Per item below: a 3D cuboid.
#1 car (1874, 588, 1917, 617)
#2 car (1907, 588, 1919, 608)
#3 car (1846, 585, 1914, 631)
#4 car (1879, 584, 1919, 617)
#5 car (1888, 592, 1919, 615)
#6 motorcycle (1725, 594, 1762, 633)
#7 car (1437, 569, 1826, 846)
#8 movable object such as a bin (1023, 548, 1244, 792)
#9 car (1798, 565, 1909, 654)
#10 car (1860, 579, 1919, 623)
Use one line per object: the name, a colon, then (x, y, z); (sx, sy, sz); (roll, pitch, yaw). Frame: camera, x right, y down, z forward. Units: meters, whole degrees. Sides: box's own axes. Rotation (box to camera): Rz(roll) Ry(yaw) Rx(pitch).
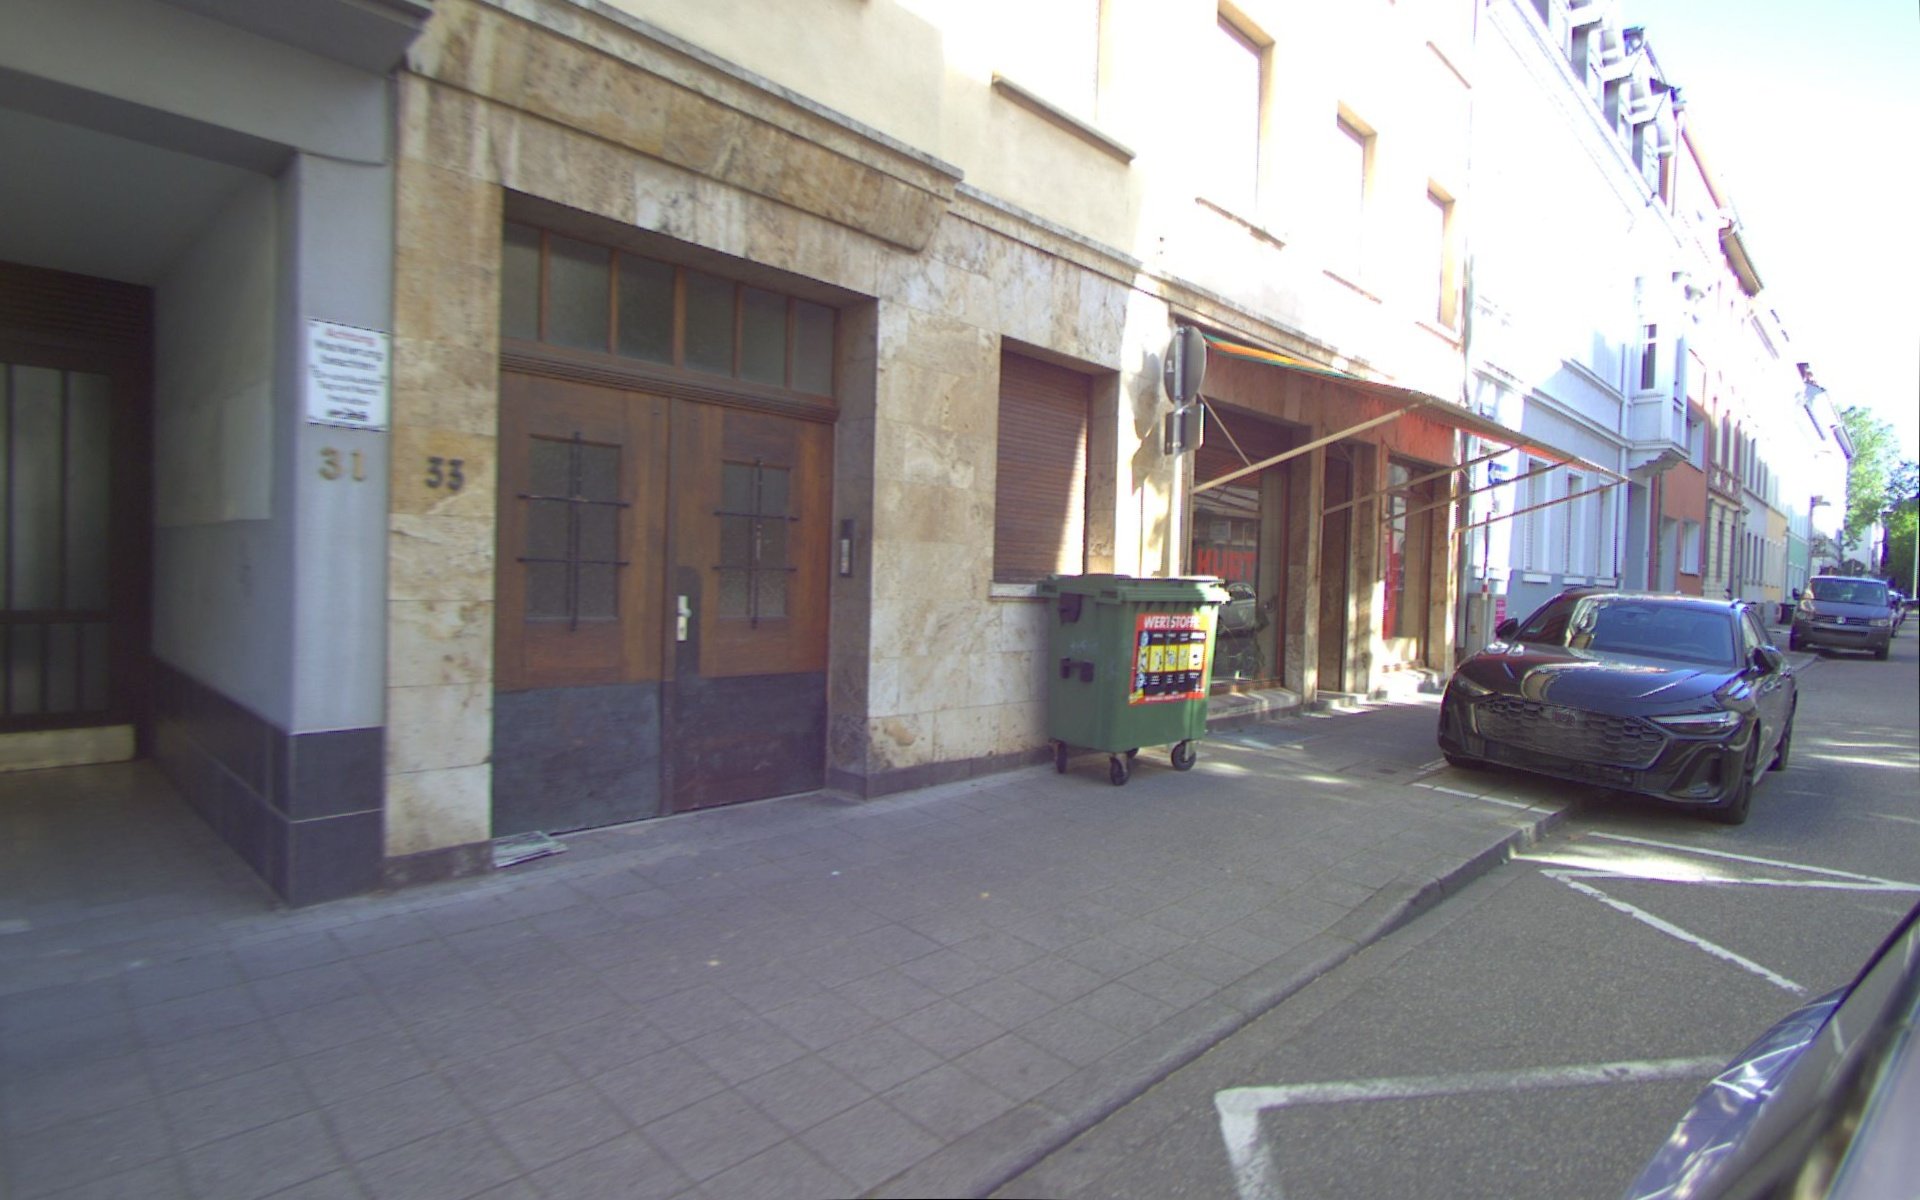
car: (50.147, 0.143, 54.228); (1.575, 1.487, 3.807); (3, 1, 44)
car: (87.328, -0.172, 91.911); (1.853, 1.650, 4.008); (3, 3, 44)
car: (34.882, 0.247, 38.341); (1.741, 1.561, 3.987); (3, 3, 44)
car: (54.082, 0.005, 58.223); (1.601, 1.805, 3.700); (3, 2, 44)
car: (64.743, 0.209, 69.329); (1.585, 1.434, 3.501); (3, 3, 44)
motorcycle: (23.079, 0.378, 29.794); (0.636, 1.057, 2.327); (3, 3, 42)
car: (5.674, 0.578, 8.235); (1.801, 1.598, 4.820); (2, 2, 44)
movable object such as a bin: (1.195, 0.410, 6.868); (1.350, 1.453, 0.747); (0, 5, -44)
car: (22.820, 0.193, 25.814); (1.969, 2.054, 4.823); (1, 1, 43)
car: (43.818, 0.014, 47.647); (1.894, 1.909, 4.387); (3, 3, 44)
